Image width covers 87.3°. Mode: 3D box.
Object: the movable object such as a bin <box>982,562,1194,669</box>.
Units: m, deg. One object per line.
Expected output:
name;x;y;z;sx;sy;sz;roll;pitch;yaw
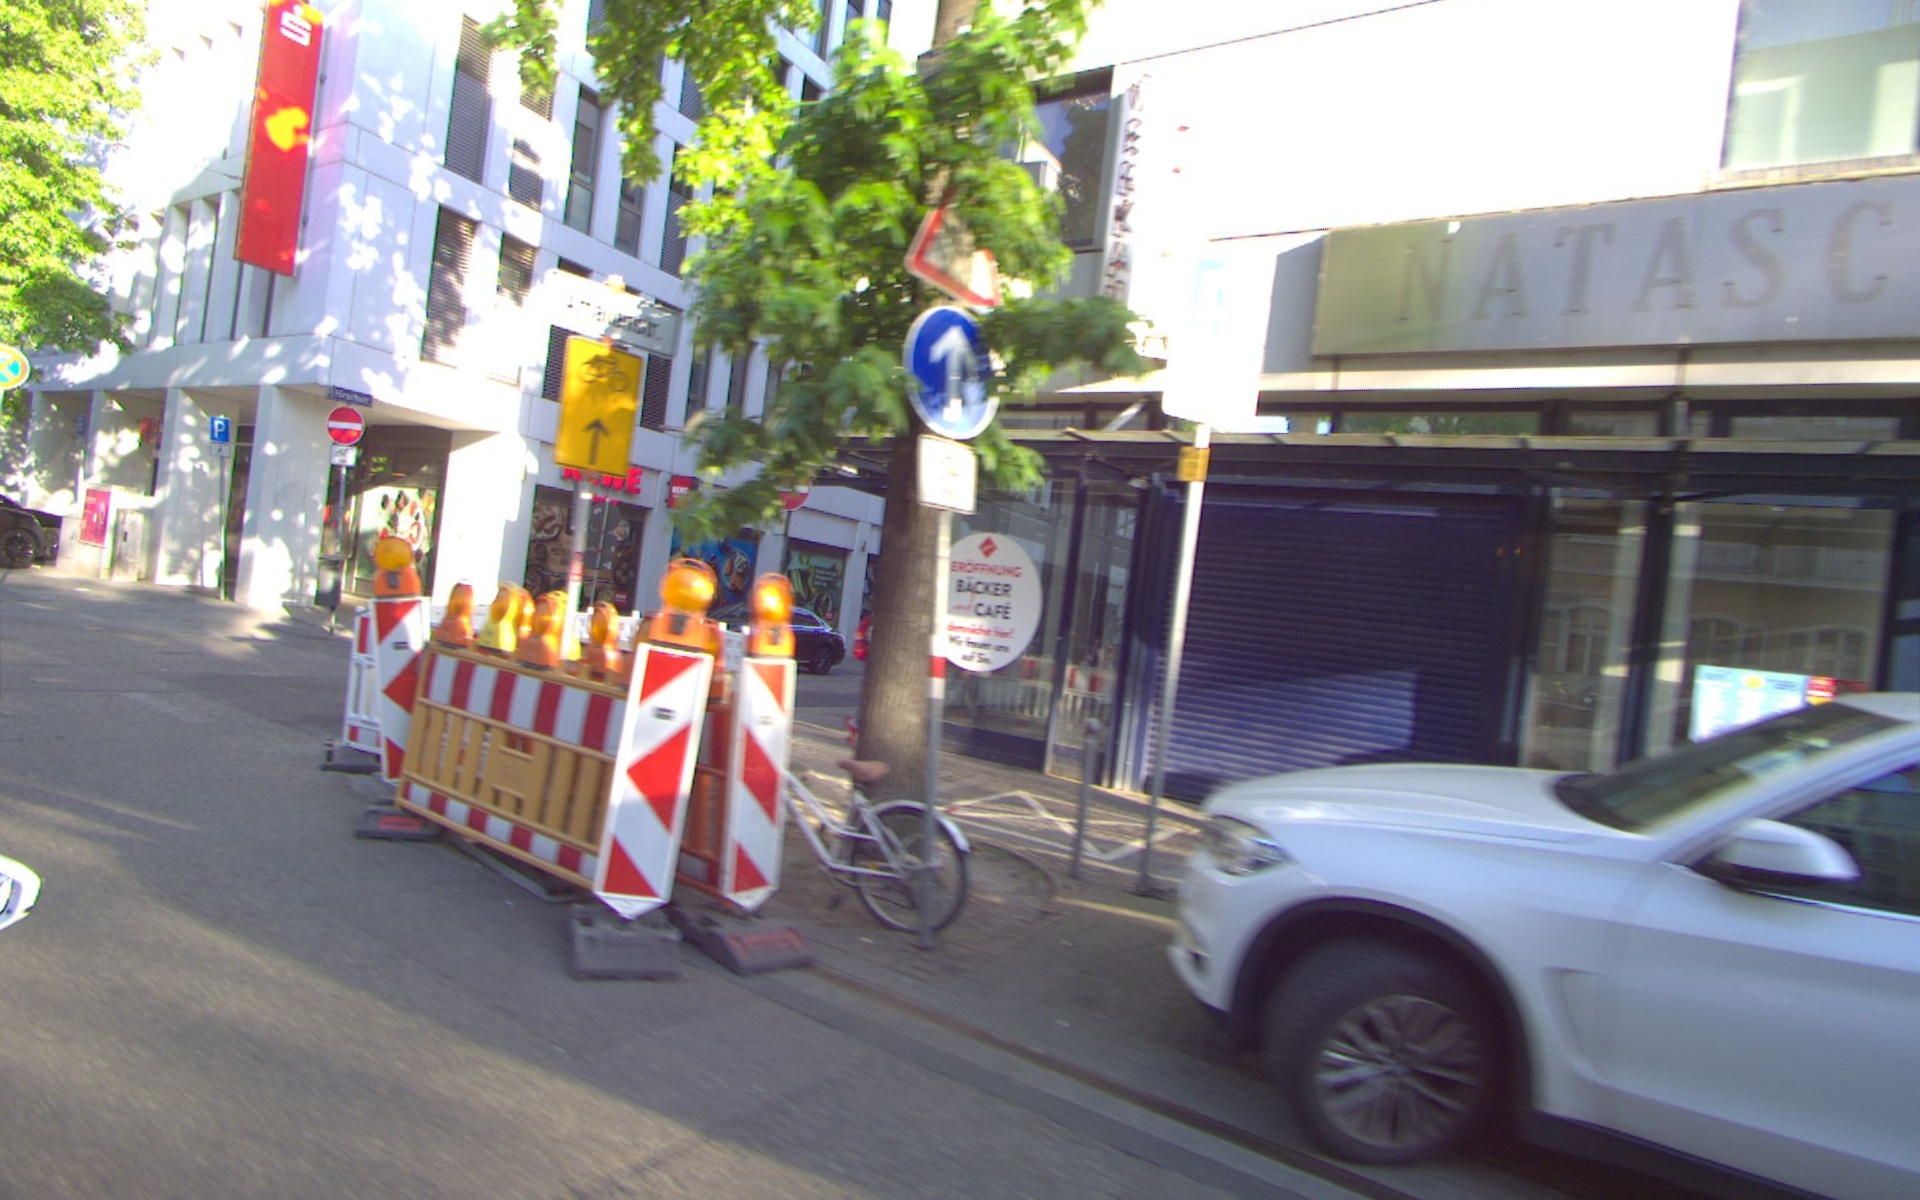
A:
movable object such as a bin;4.949;0.654;37.600;8.148;2.944;2.794;8;-1;-39

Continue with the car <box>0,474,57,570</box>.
car;-19.186;-1.558;17.799;1.957;1.786;4.664;6;1;3

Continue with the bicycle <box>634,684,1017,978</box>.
bicycle;-0.724;1.051;5.015;1.898;0.993;0.494;7;0;31

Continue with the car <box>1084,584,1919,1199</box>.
car;3.086;1.106;3.121;4.824;1.760;2.024;7;2;31

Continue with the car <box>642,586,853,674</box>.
car;-4.287;0.687;21.010;1.767;1.435;4.324;5;-2;30

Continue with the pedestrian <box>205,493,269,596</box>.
pedestrian;-13.741;-1.044;19.131;0.746;1.842;0.798;4;2;-25

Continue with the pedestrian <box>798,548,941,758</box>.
pedestrian;-0.897;0.516;10.044;0.903;1.921;0.834;7;2;35
